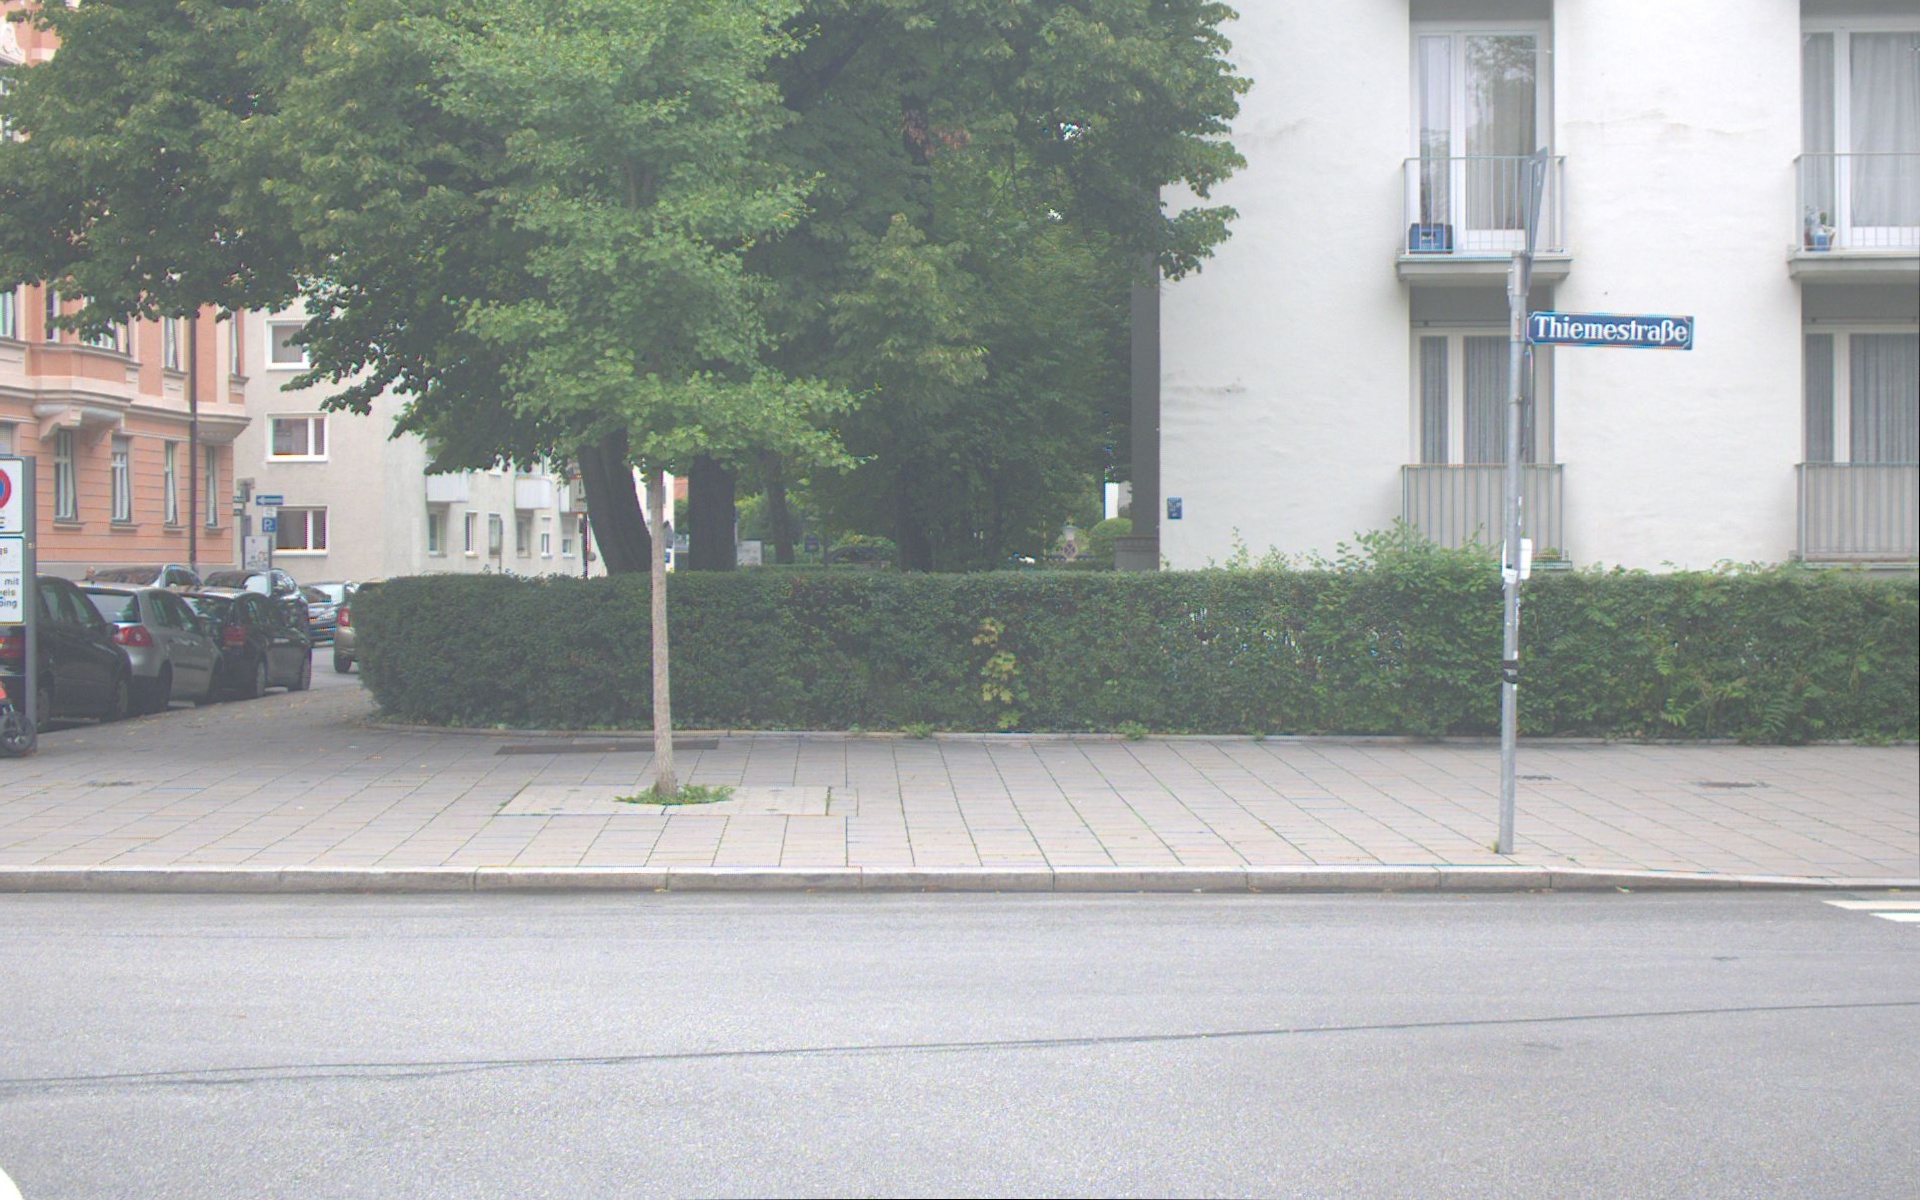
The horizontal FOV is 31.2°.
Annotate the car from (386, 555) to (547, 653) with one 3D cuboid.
[{"bbox_3d":[-8.612,0.045,60.309,1.835,1.629,4.114,-1,1,5],"label":"car"}]

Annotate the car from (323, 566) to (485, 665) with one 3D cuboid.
[{"bbox_3d":[-8.965,0.228,55.711,1.835,1.500,4.115,-1,1,1],"label":"car"}]

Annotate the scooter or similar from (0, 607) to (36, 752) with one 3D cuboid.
[{"bbox_3d":[-7.544,0.600,26.046,0.998,1.085,0.391,0,0,-23],"label":"scooter or similar"}]

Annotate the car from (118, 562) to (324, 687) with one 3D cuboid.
[{"bbox_3d":[-9.527,0.281,44.607,1.793,1.500,4.115,-1,1,0],"label":"car"}]

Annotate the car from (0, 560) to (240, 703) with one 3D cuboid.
[{"bbox_3d":[-9.449,0.312,38.810,1.793,1.500,4.115,-1,1,0],"label":"car"}]

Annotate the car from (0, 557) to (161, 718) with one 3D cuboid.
[{"bbox_3d":[-9.338,0.338,34.215,1.793,1.500,4.235,-1,1,0],"label":"car"}]

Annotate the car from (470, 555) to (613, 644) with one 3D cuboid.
[{"bbox_3d":[-7.987,-0.032,65.941,1.835,1.629,3.819,-1,1,7],"label":"car"}]

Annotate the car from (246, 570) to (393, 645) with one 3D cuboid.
[{"bbox_3d":[-14.019,0.140,75.428,1.976,1.575,4.407,1,1,6],"label":"car"}]

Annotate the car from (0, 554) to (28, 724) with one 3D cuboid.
[{"bbox_3d":[-9.357,0.374,28.950,1.818,1.500,4.422,-1,1,0],"label":"car"}]
